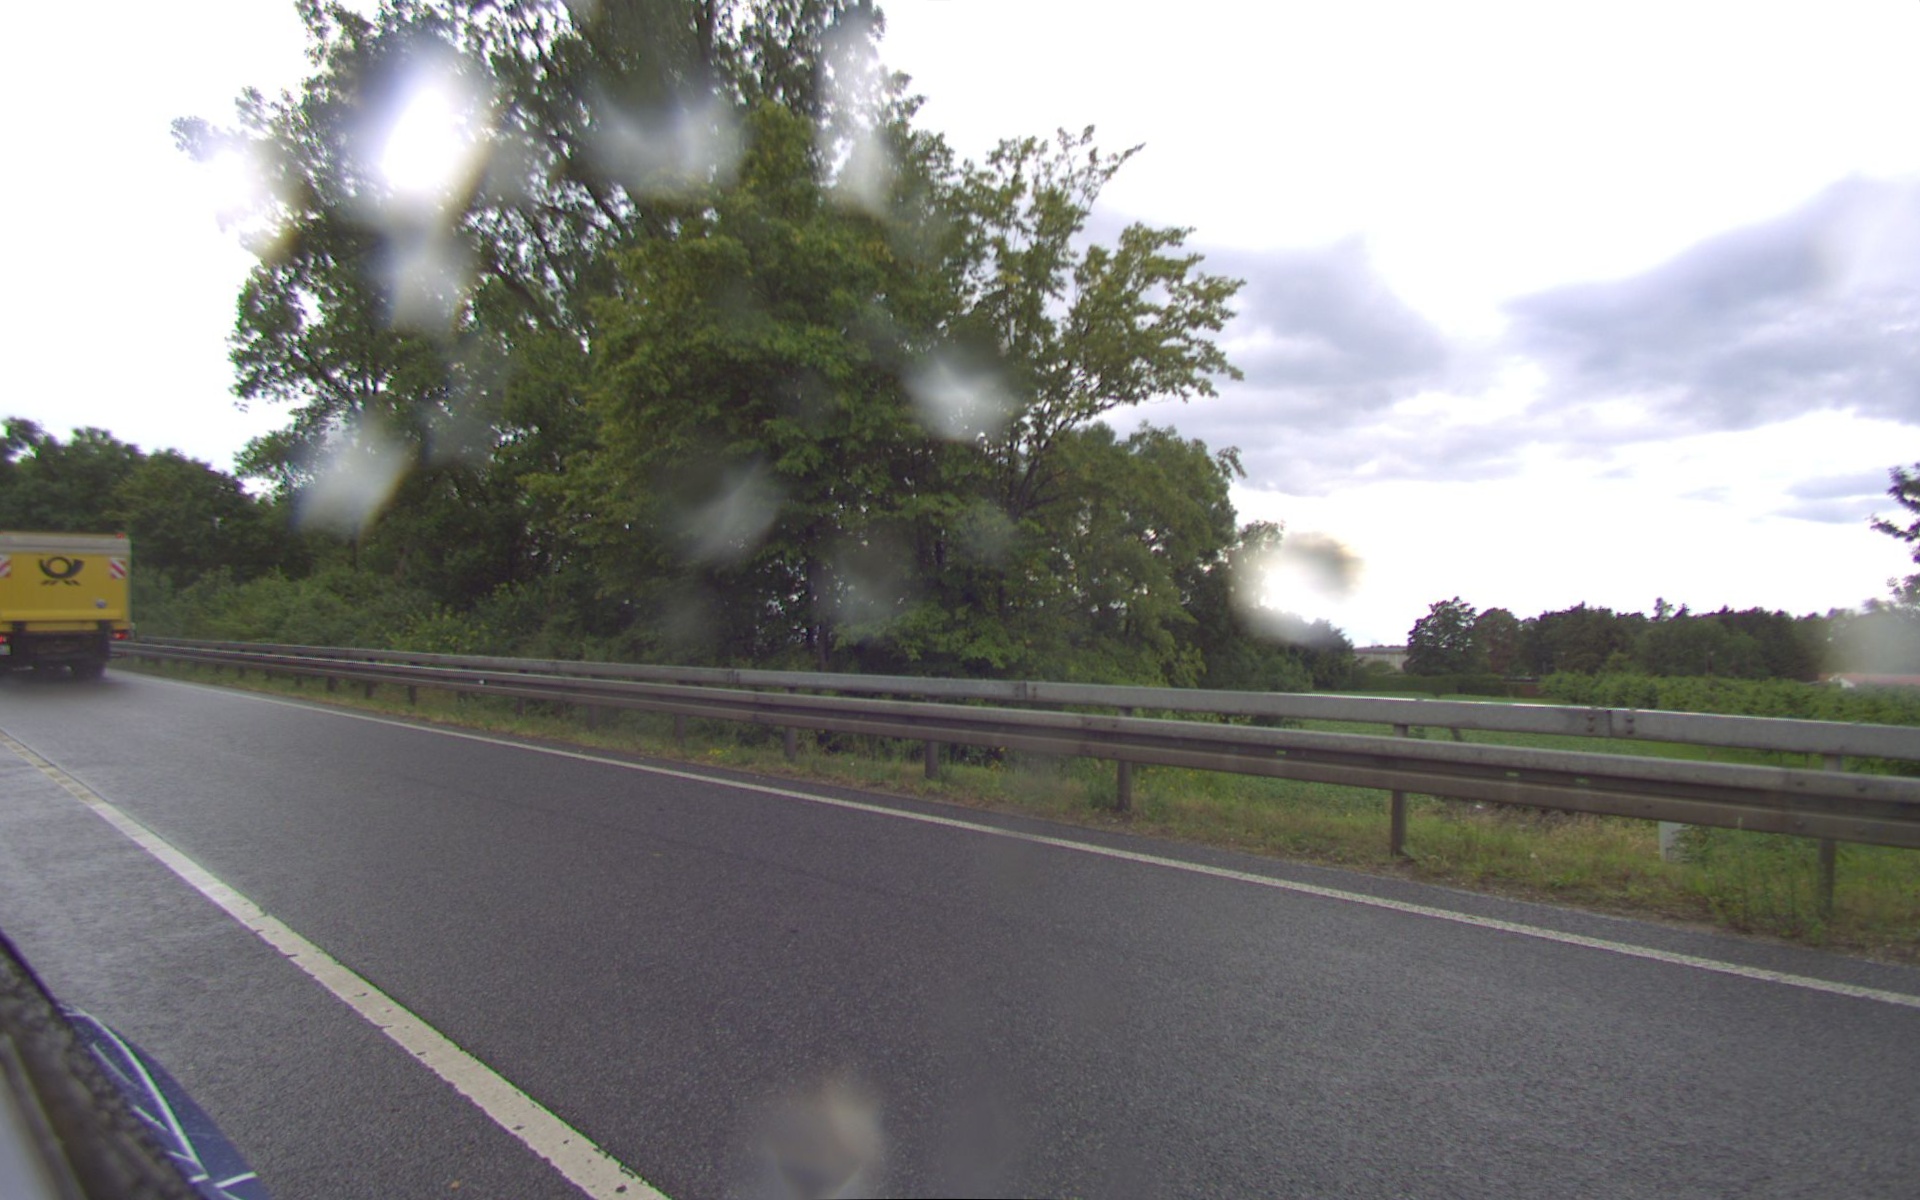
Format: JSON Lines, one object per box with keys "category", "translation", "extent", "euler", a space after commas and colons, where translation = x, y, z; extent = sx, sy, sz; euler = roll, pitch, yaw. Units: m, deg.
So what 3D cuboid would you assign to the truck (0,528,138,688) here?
{"category": "truck", "translation": [-23.746, 0.159, 25.651], "extent": [9.179, 3.455, 2.743], "euler": [0, 1, 40]}
